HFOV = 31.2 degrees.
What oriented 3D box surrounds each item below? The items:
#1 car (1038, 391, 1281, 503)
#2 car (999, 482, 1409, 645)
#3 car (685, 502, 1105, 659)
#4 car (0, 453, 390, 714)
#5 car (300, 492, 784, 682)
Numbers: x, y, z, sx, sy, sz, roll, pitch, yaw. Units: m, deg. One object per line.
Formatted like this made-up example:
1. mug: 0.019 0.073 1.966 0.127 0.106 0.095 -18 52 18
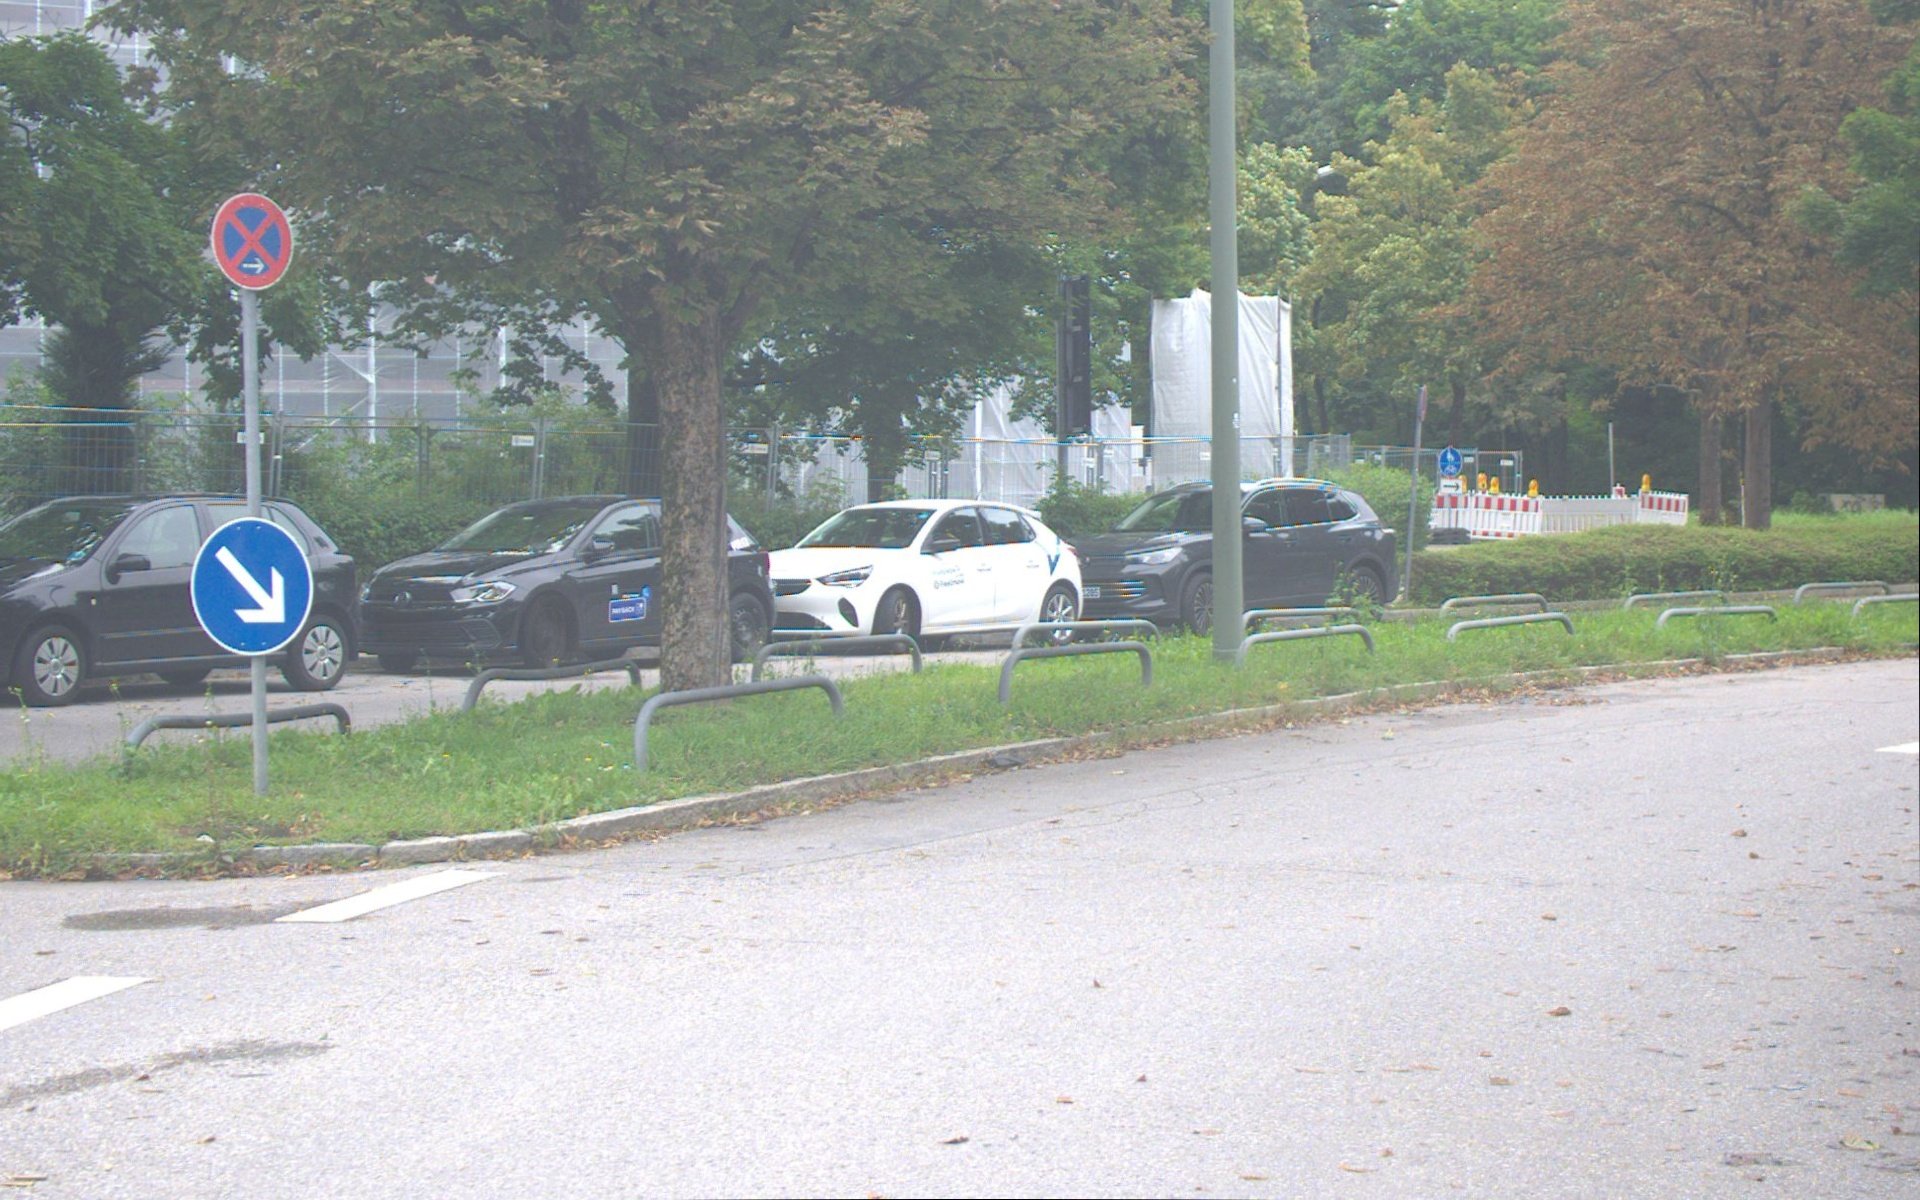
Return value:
1. car: 6.381 -4.888 111.419 3.085 3.437 8.719 -1 2 -36
2. car: 2.604 -0.358 35.967 1.890 1.600 4.385 1 0 44
3. car: -0.542 -0.222 32.497 1.800 1.379 4.210 0 1 36
4. car: -6.167 -0.149 24.407 1.997 1.700 3.993 0 1 33
5. car: -3.381 -0.149 28.518 1.838 1.456 3.998 0 1 33
